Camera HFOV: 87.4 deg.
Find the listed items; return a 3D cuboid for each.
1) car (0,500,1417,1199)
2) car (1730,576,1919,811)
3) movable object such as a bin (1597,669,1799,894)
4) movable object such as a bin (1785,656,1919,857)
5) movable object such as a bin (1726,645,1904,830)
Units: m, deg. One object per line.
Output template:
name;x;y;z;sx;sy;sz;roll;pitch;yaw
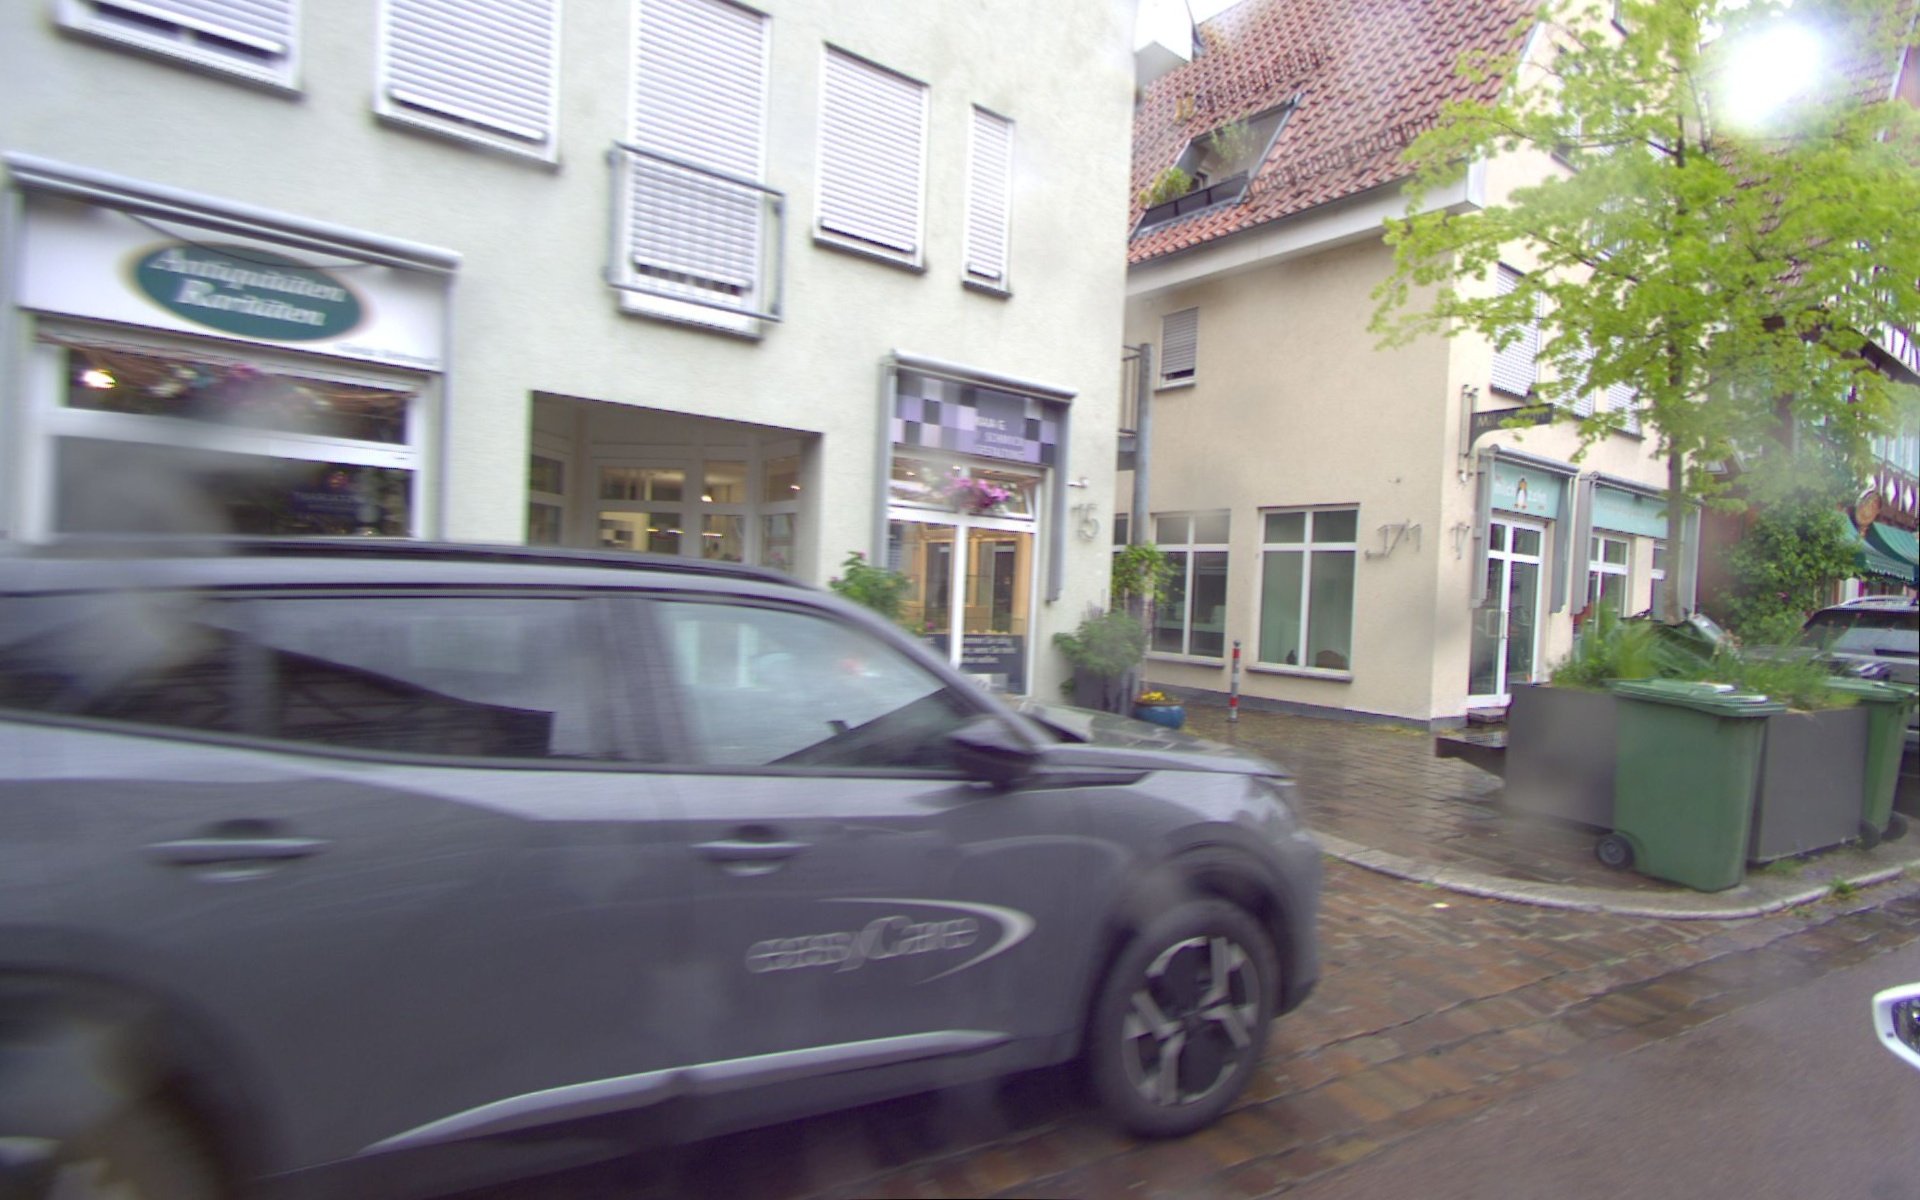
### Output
car;-0.685;0.674;2.899;3.929;1.566;1.586;3;0;-29
car;8.841;0.779;8.683;4.425;1.697;1.764;3;1;-29
movable object such as a bin;4.058;0.957;5.538;0.716;1.093;0.618;3;0;-28
movable object such as a bin;5.976;1.004;6.654;0.516;1.217;0.600;2;0;-27
movable object such as a bin;6.227;0.963;7.333;0.740;1.217;0.741;3;0;-28
